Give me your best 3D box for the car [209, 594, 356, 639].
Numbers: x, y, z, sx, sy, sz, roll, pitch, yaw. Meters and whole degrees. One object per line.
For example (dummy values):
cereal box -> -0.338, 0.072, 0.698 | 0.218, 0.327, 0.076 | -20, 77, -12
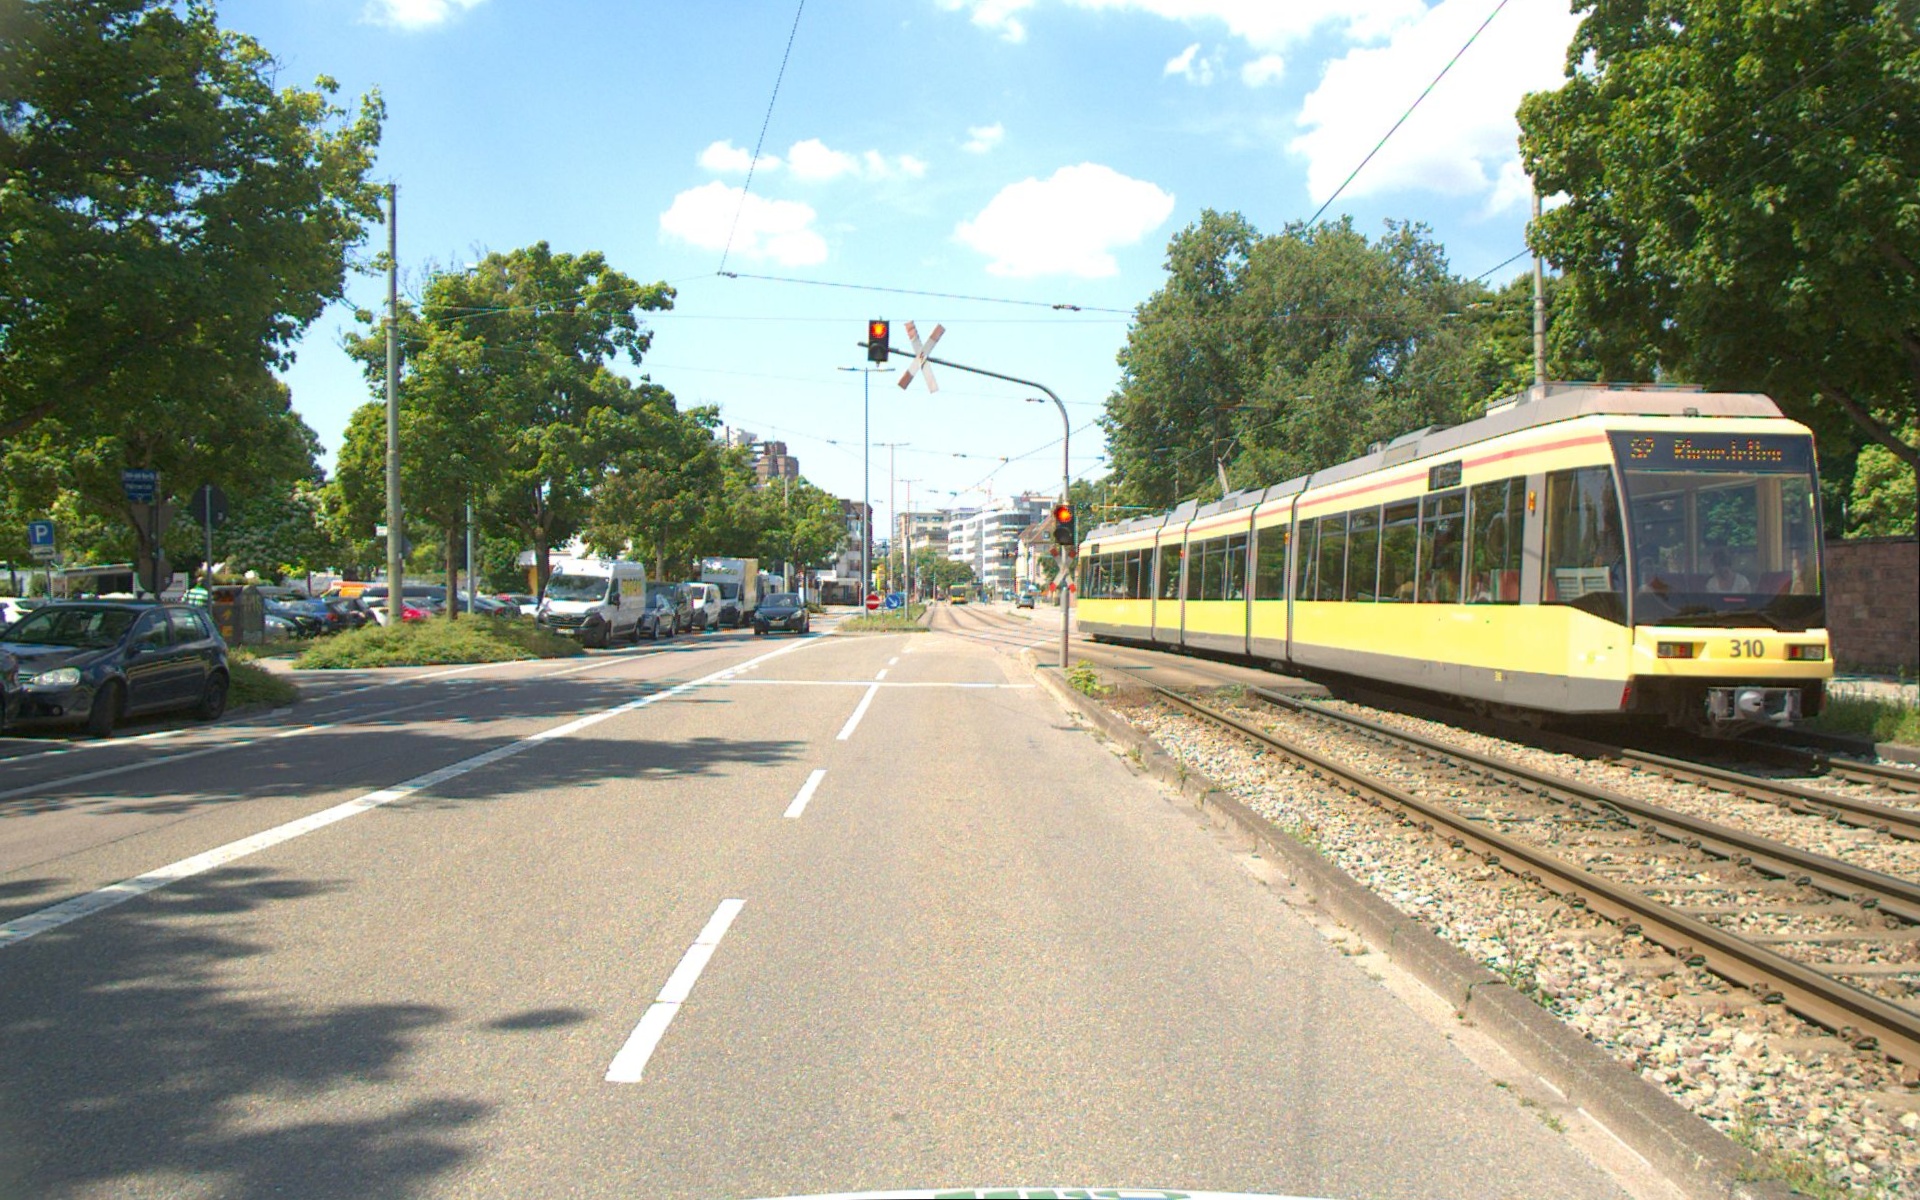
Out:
car -> -21.487, 0.510, 52.566 | 3.906, 1.362, 1.804 | 0, 0, -2

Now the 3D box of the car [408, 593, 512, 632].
car -> -21.373, 0.525, 70.851 | 3.906, 1.634, 1.804 | 0, 0, -2

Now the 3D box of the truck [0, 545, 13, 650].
truck -> -33.500, -0.043, 51.057 | 7.043, 3.284, 2.331 | 0, 0, -3

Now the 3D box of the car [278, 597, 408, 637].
car -> -21.843, 0.601, 58.660 | 3.906, 1.362, 1.804 | 0, 0, -2

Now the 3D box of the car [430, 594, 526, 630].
car -> -22.244, 0.539, 76.455 | 3.906, 1.634, 1.804 | 0, 0, -2

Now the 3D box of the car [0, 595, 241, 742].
car -> -10.325, 0.726, 19.713 | 1.739, 1.506, 4.047 | 2, 0, -1

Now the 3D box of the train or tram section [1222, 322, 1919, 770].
train or tram section -> 6.768, -0.535, 23.247 | 2.884, 3.756, 18.385 | 1, 0, -1

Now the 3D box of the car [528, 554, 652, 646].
car -> -10.975, -0.021, 49.544 | 2.112, 2.530, 6.194 | 1, 0, 2

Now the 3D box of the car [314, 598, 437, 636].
car -> -21.603, 0.629, 61.225 | 3.906, 1.362, 1.804 | 0, 0, -2

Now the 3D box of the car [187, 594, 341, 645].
car -> -21.057, 0.575, 50.155 | 3.906, 1.467, 1.804 | 0, 0, -2

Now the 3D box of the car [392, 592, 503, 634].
car -> -20.620, 0.525, 66.636 | 3.906, 1.634, 1.804 | 0, 0, -2

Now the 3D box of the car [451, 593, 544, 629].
car -> -22.041, 0.513, 78.893 | 3.906, 1.634, 1.804 | 0, 0, -2

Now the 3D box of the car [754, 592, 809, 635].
car -> -6.331, 0.449, 59.024 | 1.644, 1.422, 4.003 | -2, 0, -3

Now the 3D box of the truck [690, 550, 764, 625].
truck -> -10.868, -0.573, 77.702 | 2.112, 3.266, 7.084 | 3, 0, 2

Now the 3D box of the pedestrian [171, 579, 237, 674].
pedestrian -> -15.021, 0.514, 32.881 | 0.955, 1.855, 0.794 | 0, 0, -4

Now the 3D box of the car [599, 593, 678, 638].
car -> -10.809, 0.486, 55.849 | 1.830, 1.462, 4.342 | 0, 0, 0

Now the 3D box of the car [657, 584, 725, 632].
car -> -11.178, 0.312, 68.950 | 2.019, 1.931, 4.871 | 0, 0, 0

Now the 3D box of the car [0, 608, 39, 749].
car -> -10.417, 0.777, 14.884 | 1.739, 1.397, 4.695 | 2, 0, -2

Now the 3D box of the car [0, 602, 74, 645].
car -> -33.832, 0.839, 58.583 | 3.906, 1.467, 1.804 | 0, 0, -2

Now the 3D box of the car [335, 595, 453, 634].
car -> -21.640, 0.542, 63.336 | 3.906, 1.467, 1.805 | 0, 0, -2

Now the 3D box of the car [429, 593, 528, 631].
car -> -21.568, 0.534, 74.191 | 3.906, 1.634, 1.804 | 0, 0, -2

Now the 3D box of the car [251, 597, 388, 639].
car -> -21.657, 0.607, 56.025 | 3.906, 1.362, 1.804 | 0, 0, -2

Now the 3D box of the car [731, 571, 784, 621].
car -> -11.287, -0.242, 92.687 | 2.112, 2.685, 5.612 | 1, 0, 2

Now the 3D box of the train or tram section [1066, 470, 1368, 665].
train or tram section -> 5.673, -0.724, 42.440 | 2.886, 3.756, 20.263 | 1, 0, -5
